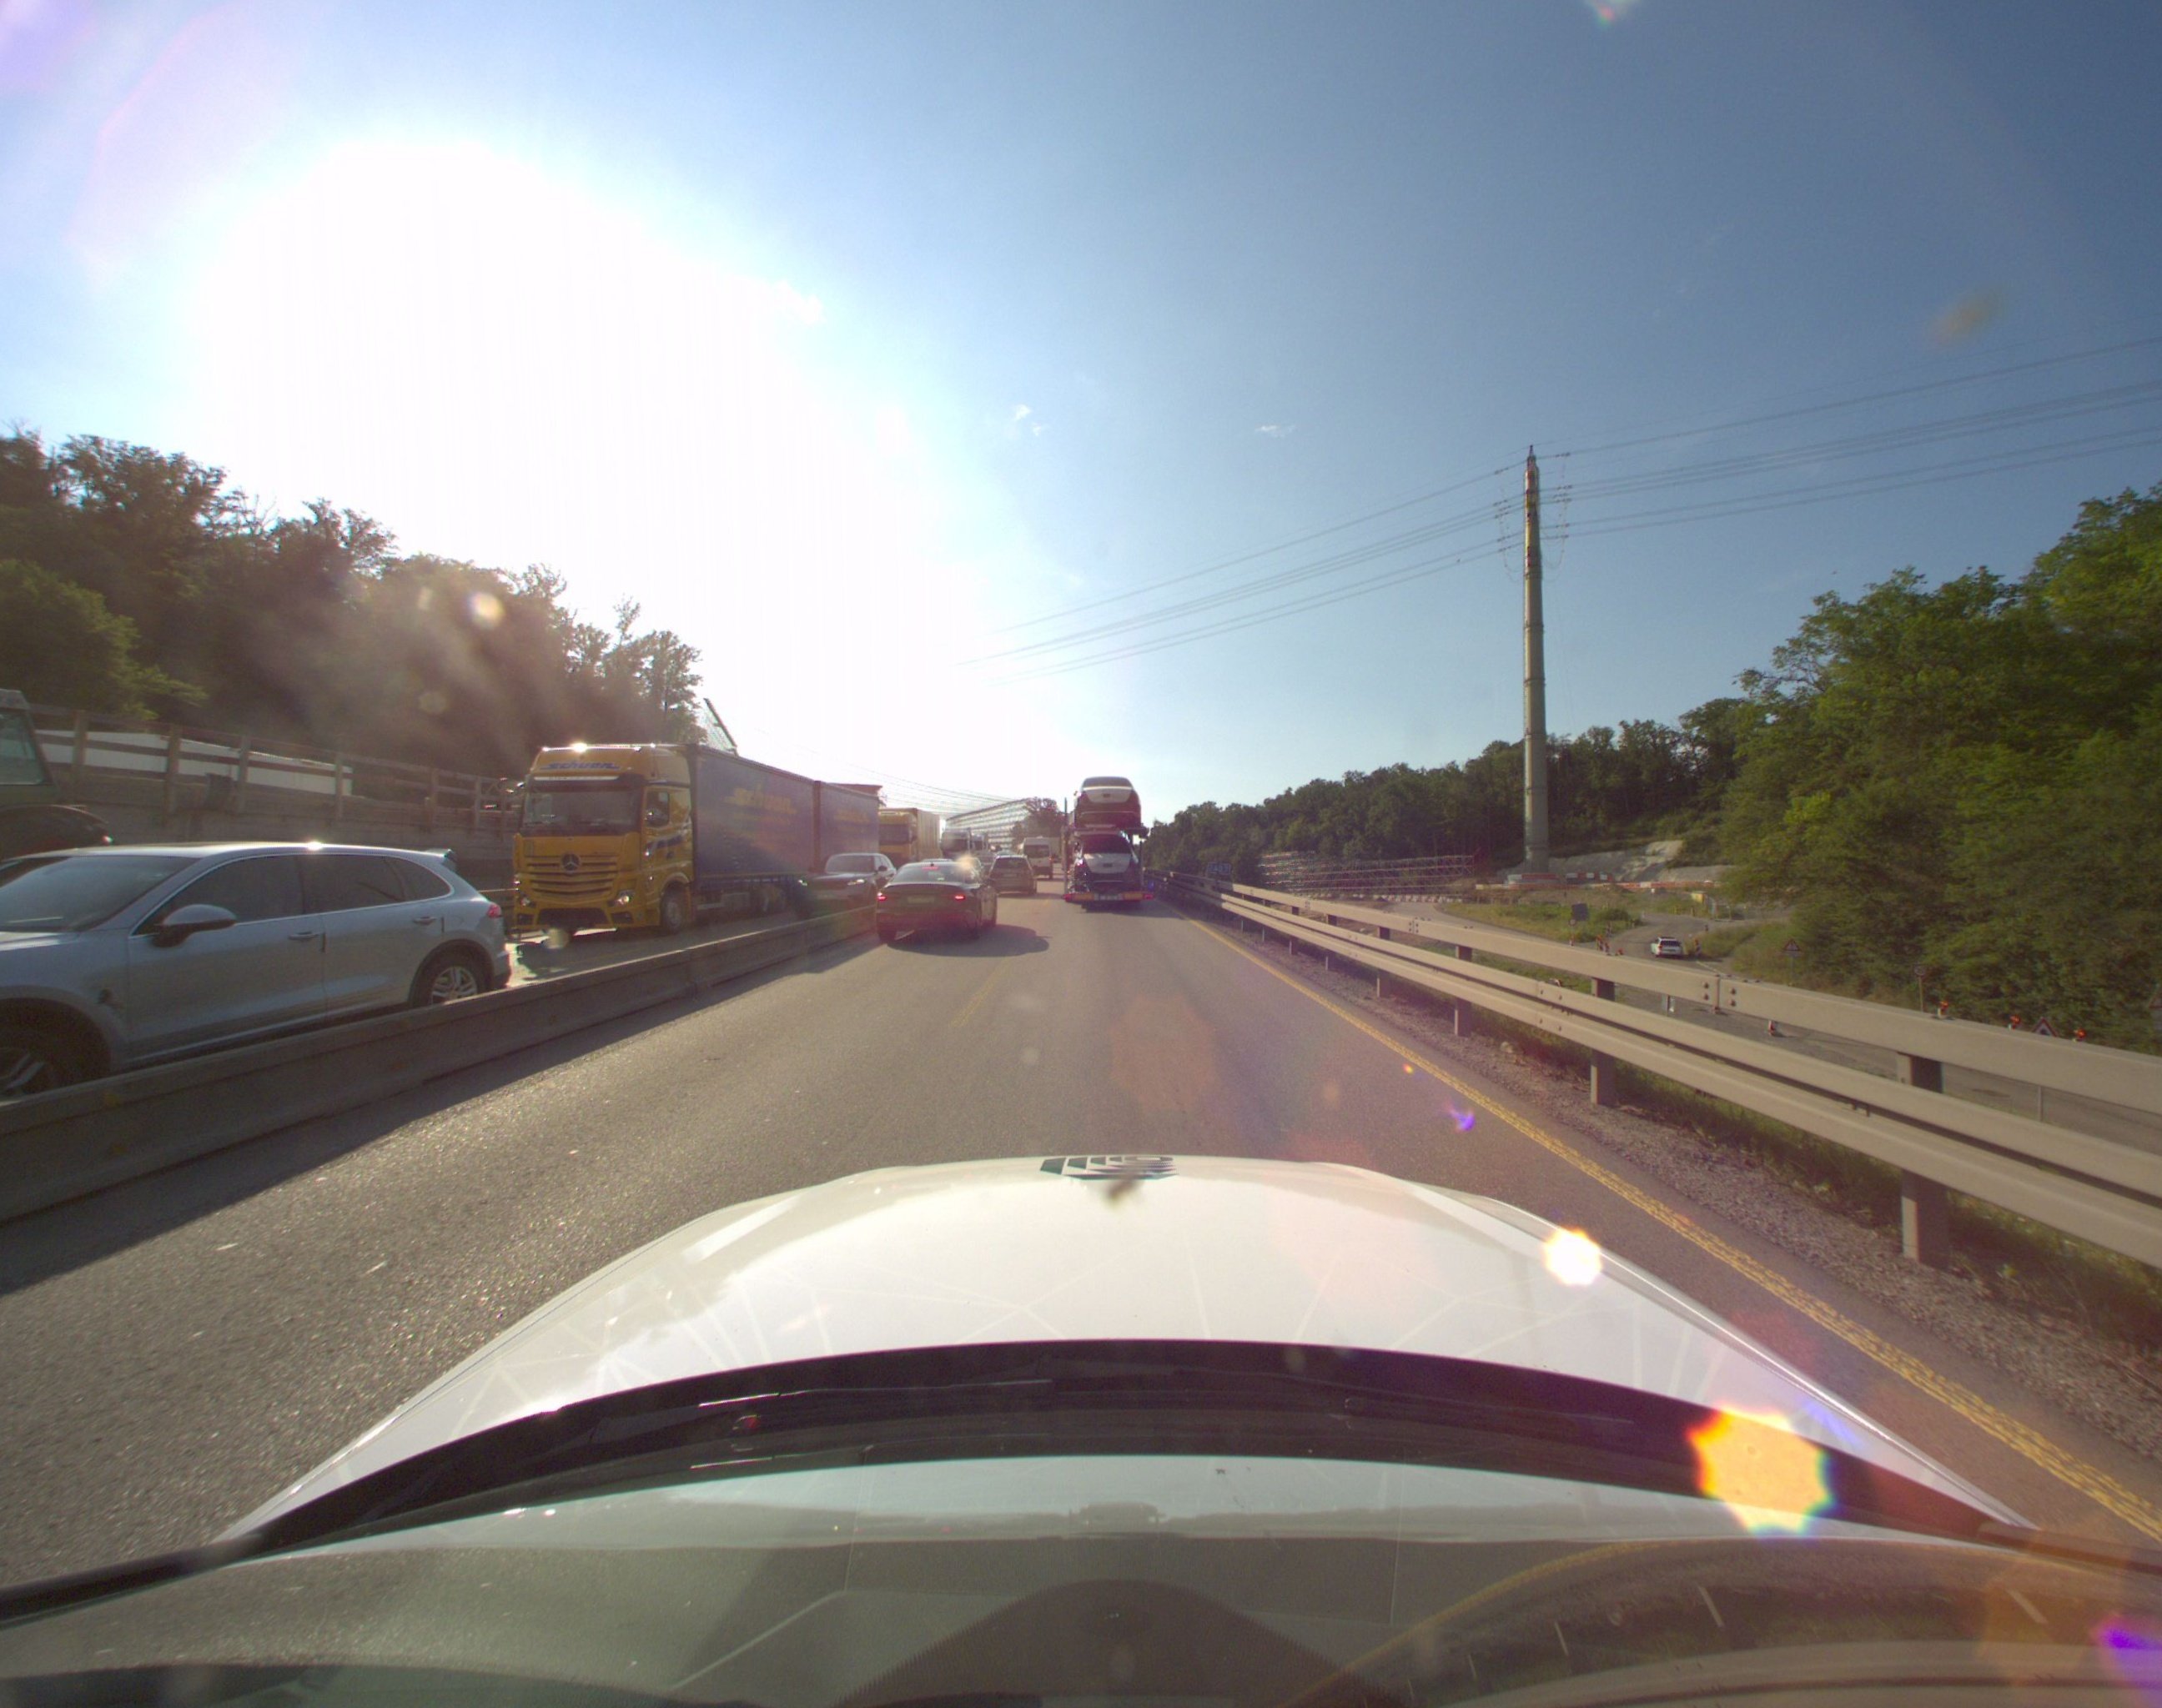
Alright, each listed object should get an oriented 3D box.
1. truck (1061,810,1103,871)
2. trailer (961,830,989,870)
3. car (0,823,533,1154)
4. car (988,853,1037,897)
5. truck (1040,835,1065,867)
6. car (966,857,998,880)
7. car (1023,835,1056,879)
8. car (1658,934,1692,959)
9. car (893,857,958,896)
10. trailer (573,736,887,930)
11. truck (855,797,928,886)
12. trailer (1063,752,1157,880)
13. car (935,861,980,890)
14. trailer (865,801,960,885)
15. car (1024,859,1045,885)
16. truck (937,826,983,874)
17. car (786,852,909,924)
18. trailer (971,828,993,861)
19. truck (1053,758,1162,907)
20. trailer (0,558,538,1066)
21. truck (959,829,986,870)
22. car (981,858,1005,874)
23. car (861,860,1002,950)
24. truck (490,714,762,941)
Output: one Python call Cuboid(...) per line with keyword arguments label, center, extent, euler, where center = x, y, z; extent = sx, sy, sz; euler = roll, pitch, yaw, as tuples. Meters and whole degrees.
Cuboid(label="truck", center=(-0.046, -1.090, 69.283), extent=(3.219, 4.677, 11.688), euler=(-1, 0, -1))
Cuboid(label="trailer", center=(-12.315, -0.319, 95.725), extent=(2.448, 4.266, 12.126), euler=(-1, -1, -4))
Cuboid(label="car", center=(-6.350, 0.716, 5.525), extent=(1.953, 1.645, 4.847), euler=(-1, -1, 0))
Cuboid(label="car", center=(-2.659, 0.808, 32.343), extent=(1.696, 1.587, 4.143), euler=(-1, -1, -2))
Cuboid(label="truck", center=(-4.394, -0.519, 126.160), extent=(3.638, 4.677, 11.688), euler=(-1, 0, -1))
Cuboid(label="car", center=(-6.886, 1.044, 56.823), extent=(1.711, 1.508, 4.289), euler=(-1, -1, -1))
Cuboid(label="car", center=(-2.631, 0.228, 52.299), extent=(1.974, 2.684, 4.144), euler=(-1, -1, -1))
Cuboid(label="car", center=(45.141, 7.013, 61.850), extent=(1.511, 1.461, 4.294), euler=(-2, -2, 43))
Cuboid(label="car", center=(-6.533, 0.935, 34.698), extent=(1.782, 1.498, 4.723), euler=(-1, -1, 0))
Cuboid(label="trailer", center=(-9.535, -0.307, 25.882), extent=(2.706, 4.135, 16.747), euler=(-1, -1, 0))
Cuboid(label="truck", center=(-9.505, -0.568, 41.227), extent=(2.686, 4.197, 4.395), euler=(-1, -1, -2))
Cuboid(label="trailer", center=(0.749, -1.074, 33.383), extent=(2.867, 3.994, 15.269), euler=(-1, -1, -1))
Cuboid(label="car", center=(-6.631, 1.140, 44.114), extent=(1.792, 1.453, 4.613), euler=(-1, -1, -1))
Cuboid(label="trailer", center=(-9.679, -0.423, 49.142), extent=(2.693, 4.204, 15.986), euler=(-1, -1, -1))
Cuboid(label="car", center=(-3.752, 1.487, 65.992), extent=(1.524, 2.014, 3.996), euler=(1, -1, -2))
Cuboid(label="truck", center=(-10.770, -0.189, 73.771), extent=(2.803, 3.970, 13.874), euler=(0, -1, -3))
Cuboid(label="car", center=(-6.148, 0.857, 22.058), extent=(1.921, 1.701, 4.690), euler=(-1, -1, 0))
Cuboid(label="trailer", center=(-14.435, -1.223, 120.014), extent=(2.890, 4.394, 14.348), euler=(-1, -1, -6))
Cuboid(label="truck", center=(0.811, -0.526, 24.896), extent=(2.859, 3.980, 5.774), euler=(-1, -1, 2))
Cuboid(label="trailer", center=(-9.523, -0.298, 3.829), extent=(2.739, 3.816, 16.050), euler=(-2, -1, 1))
Cuboid(label="truck", center=(-11.924, -0.429, 89.636), extent=(2.439, 4.272, 6.312), euler=(-1, -1, -4))
Cuboid(label="car", center=(-8.075, 1.132, 75.021), extent=(1.735, 1.402, 4.899), euler=(-1, -1, -2))
Cuboid(label="car", center=(-2.816, 0.902, 16.609), extent=(1.935, 1.480, 5.219), euler=(-2, -1, -1))
Cuboid(label="truck", center=(-9.525, -0.441, 17.908), extent=(2.693, 4.141, 5.792), euler=(-1, -1, 0))
